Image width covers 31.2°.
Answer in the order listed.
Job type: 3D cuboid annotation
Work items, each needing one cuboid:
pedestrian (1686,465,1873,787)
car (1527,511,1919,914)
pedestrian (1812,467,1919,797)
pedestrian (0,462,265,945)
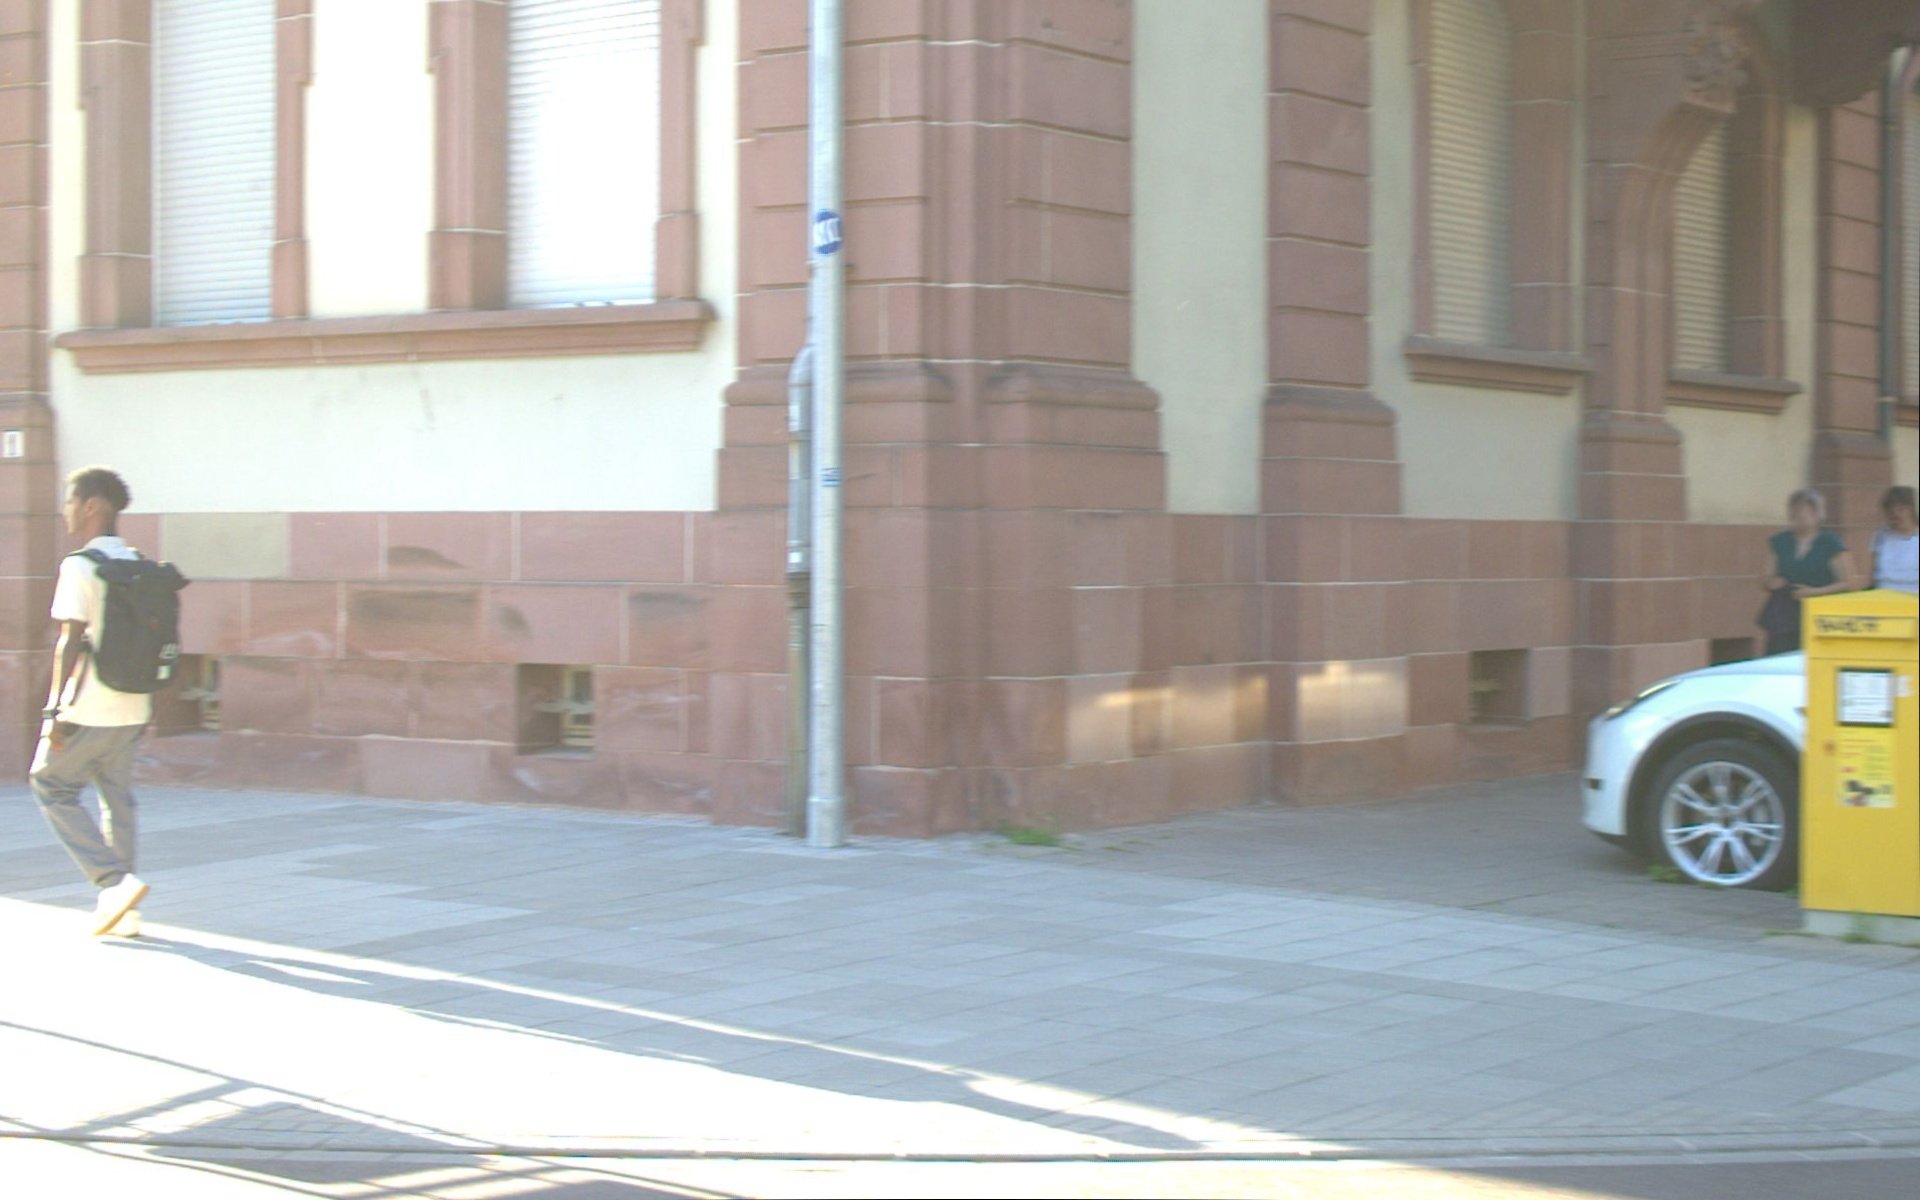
[{"bbox_3d":[4.830,0.137,20.260,0.789,1.833,0.715,3,2,37],"label":"pedestrian"},{"bbox_3d":[5.023,0.523,14.585,4.715,1.583,1.963,4,3,32],"label":"car"},{"bbox_3d":[5.388,0.170,19.683,0.725,1.833,0.611,4,3,37],"label":"pedestrian"},{"bbox_3d":[-3.150,0.354,12.759,1.002,1.713,0.533,1,4,36],"label":"pedestrian"}]
